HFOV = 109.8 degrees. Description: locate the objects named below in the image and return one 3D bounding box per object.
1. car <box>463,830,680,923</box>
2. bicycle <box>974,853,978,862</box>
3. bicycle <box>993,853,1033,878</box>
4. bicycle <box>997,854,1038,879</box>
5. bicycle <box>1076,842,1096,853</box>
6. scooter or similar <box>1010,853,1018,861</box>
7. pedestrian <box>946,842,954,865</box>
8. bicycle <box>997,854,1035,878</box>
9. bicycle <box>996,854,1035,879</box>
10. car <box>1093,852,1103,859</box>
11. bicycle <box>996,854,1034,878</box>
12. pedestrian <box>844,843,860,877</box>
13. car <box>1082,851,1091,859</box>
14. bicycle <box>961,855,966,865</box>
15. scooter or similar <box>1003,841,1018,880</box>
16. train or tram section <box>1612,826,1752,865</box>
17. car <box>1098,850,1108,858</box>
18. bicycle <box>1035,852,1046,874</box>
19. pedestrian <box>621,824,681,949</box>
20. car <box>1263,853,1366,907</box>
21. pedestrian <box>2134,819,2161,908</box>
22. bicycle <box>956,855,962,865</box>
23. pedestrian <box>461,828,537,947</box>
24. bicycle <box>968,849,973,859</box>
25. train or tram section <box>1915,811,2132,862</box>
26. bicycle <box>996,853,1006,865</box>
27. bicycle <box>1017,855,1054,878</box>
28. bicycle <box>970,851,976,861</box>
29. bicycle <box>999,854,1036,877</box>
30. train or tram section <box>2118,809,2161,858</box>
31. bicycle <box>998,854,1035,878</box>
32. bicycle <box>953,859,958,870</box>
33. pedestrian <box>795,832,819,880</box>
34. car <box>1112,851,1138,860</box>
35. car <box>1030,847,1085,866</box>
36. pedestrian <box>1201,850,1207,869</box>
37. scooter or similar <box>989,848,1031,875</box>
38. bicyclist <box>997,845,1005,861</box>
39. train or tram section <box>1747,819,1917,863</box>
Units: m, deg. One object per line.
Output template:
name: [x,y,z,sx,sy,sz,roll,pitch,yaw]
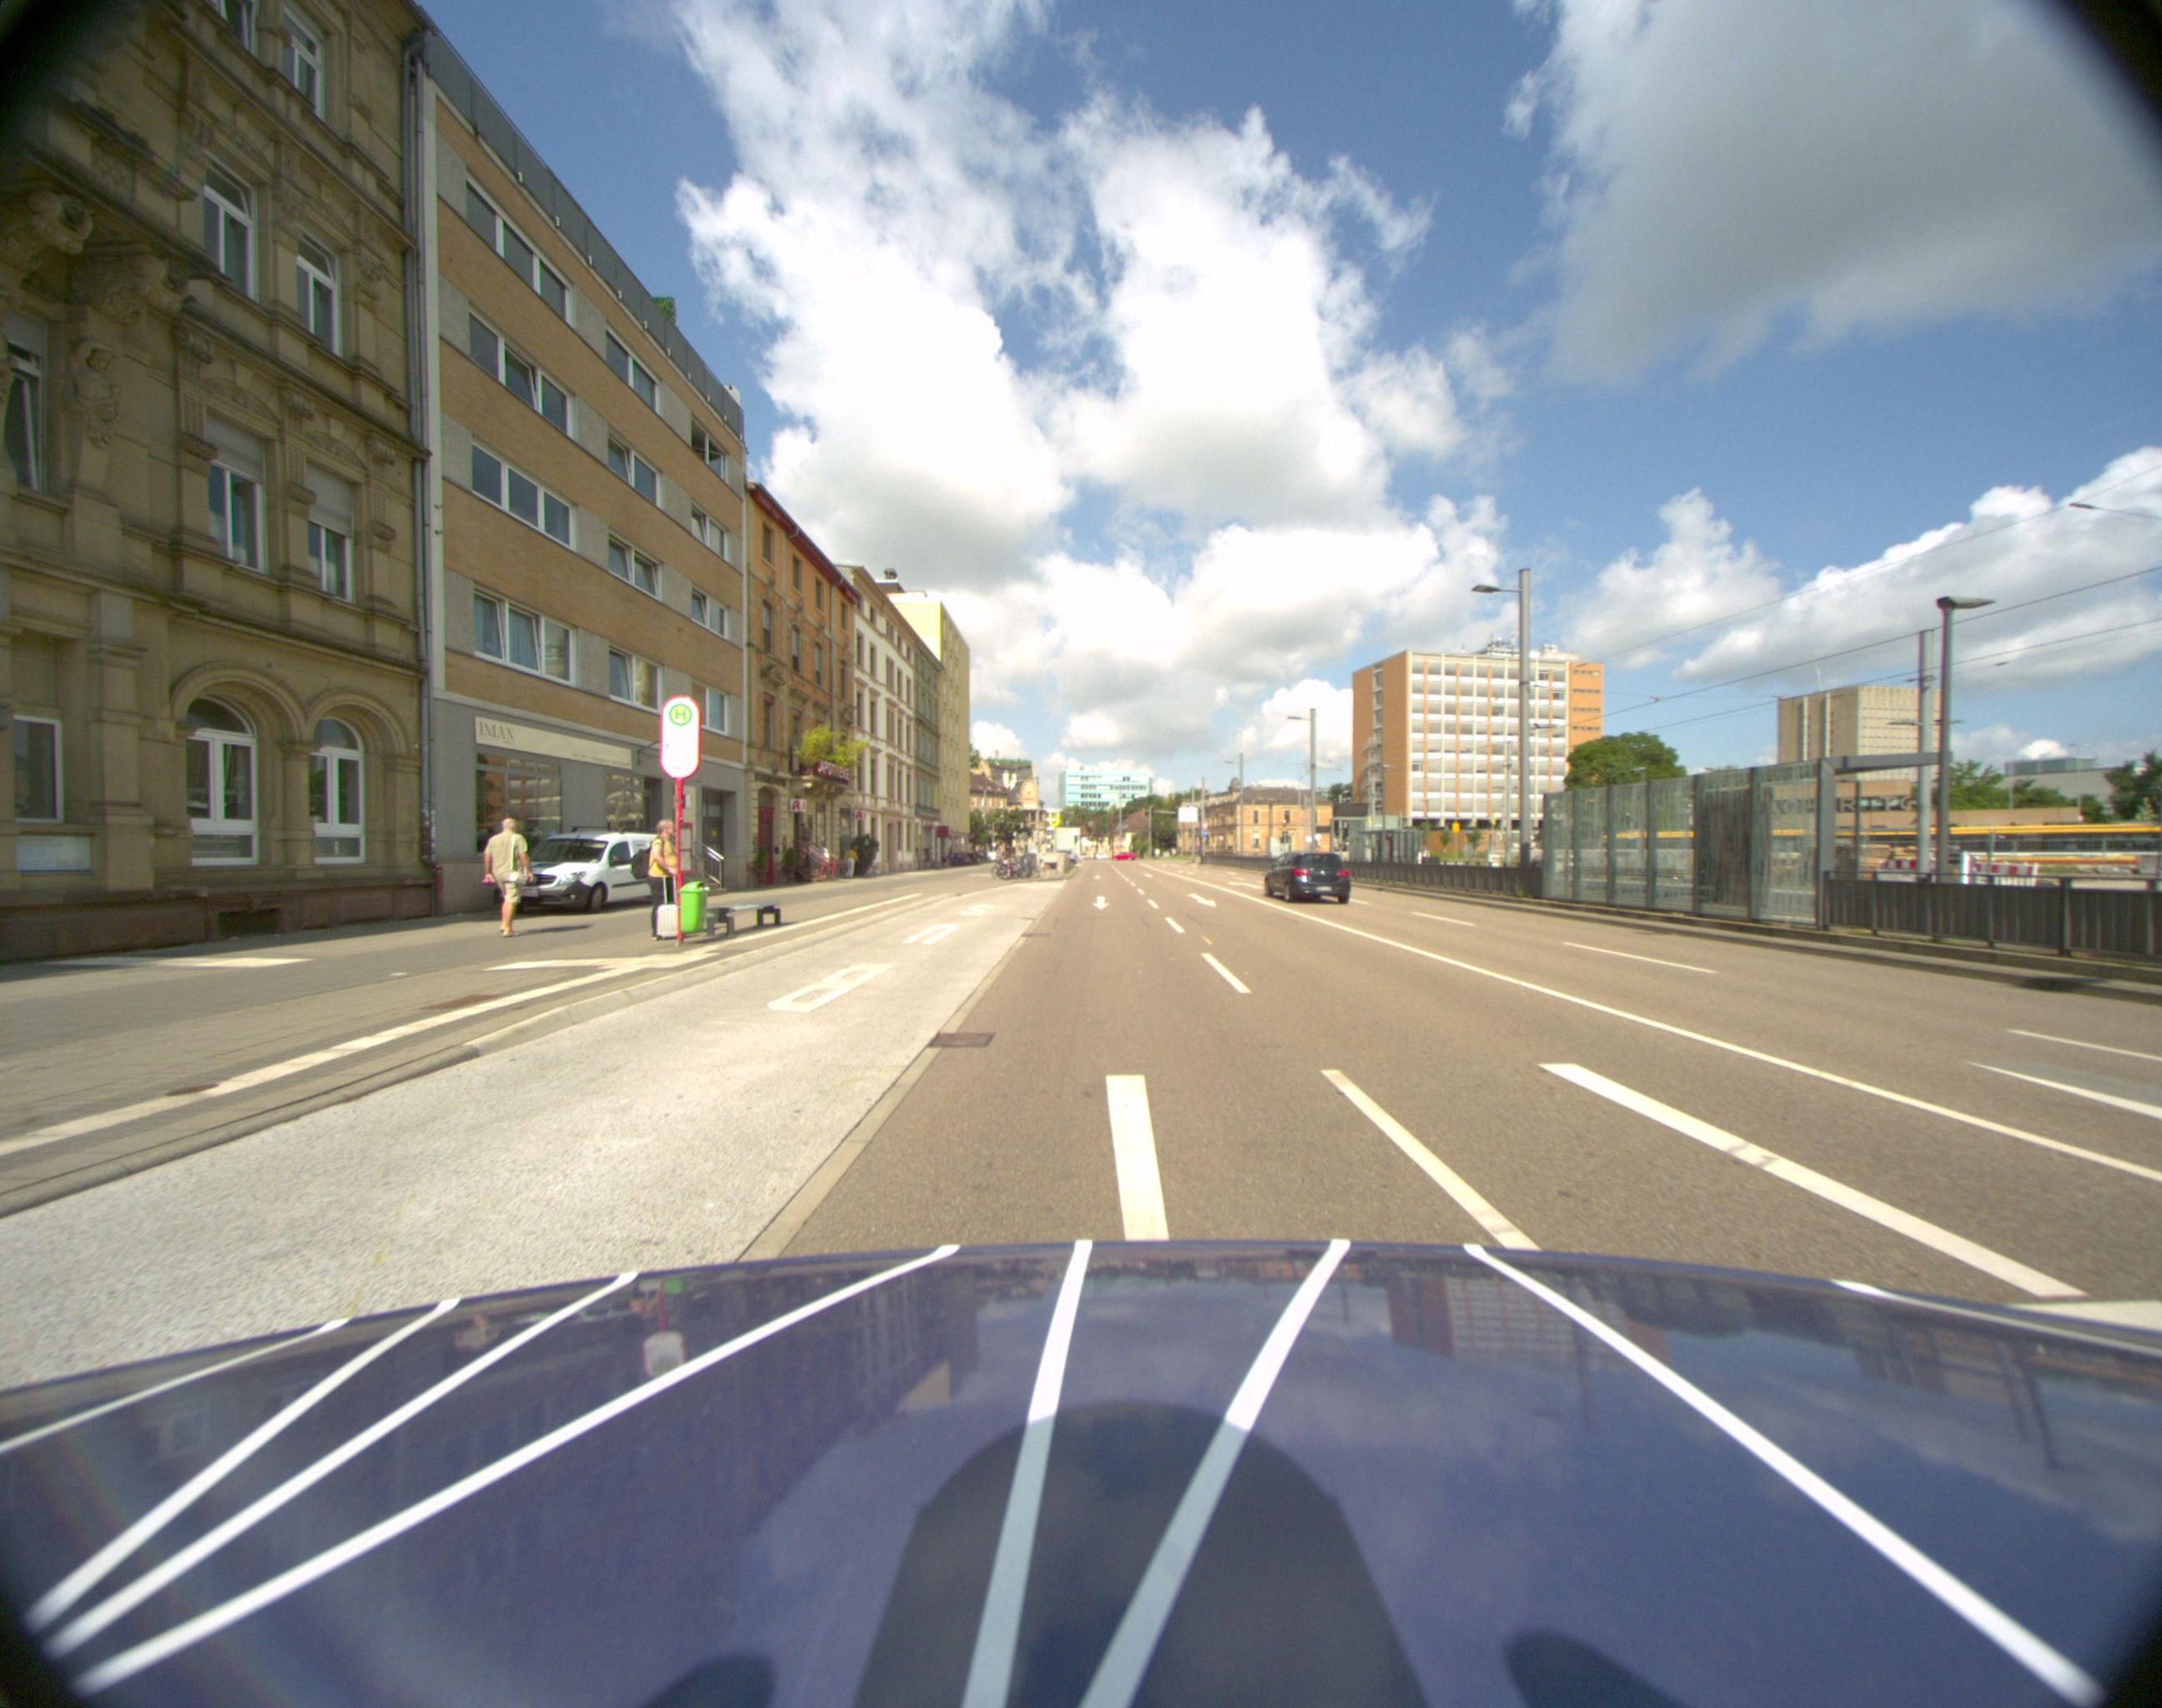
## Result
car: [-11.348,0.403,17.446,1.999,1.851,4.750,0,1,-4]
bicycle: [-10.997,0.385,79.550,0.293,0.878,1.464,0,1,-1]
bicycle: [-3.366,0.585,37.562,1.930,1.230,0.441,0,-1,-7]
bicycle: [-3.096,0.605,37.003,1.985,1.230,0.441,0,-1,-10]
bicycle: [0.541,-0.731,83.229,2.098,1.099,0.544,0,-1,4]
scooter or similar: [-9.490,0.413,107.397,1.067,1.189,0.380,1,-2,-36]
pedestrian: [-11.425,-0.075,66.485,0.603,2.001,0.460,0,-1,1]
bicycle: [-3.382,0.620,39.251,1.930,1.230,0.441,0,-1,-9]
bicycle: [-3.265,0.627,38.122,1.930,1.230,0.441,0,-1,-4]
car: [4.906,0.452,221.421,2.001,2.001,3.996,0,-2,-15]
bicycle: [-3.372,0.617,38.697,1.930,1.230,0.441,0,-1,-9]
pedestrian: [-11.436,0.305,37.952,0.580,1.687,0.612,0,-1,2]
car: [1.085,0.258,158.404,1.837,1.586,4.001,0,-2,0]
bicycle: [-10.775,0.548,69.801,0.293,0.917,1.464,0,0,-1]
scooter or similar: [-3.306,0.285,35.678,0.398,1.776,1.538,0,1,5]
train or tram section: [59.736,-0.744,75.812,10.579,3.459,3.332,-2,-2,45]
car: [4.431,0.054,155.630,1.955,1.586,4.507,0,-2,0]
bicycle: [-2.255,0.519,42.295,0.441,1.230,1.930,0,-2,-7]
pedestrian: [-6.698,0.485,11.864,0.665,1.892,0.693,0,1,-17]
car: [6.649,0.702,22.096,1.920,1.409,3.741,0,1,1]
pedestrian: [25.018,0.218,17.119,1.068,2.002,1.051,0,1,5]
bicycle: [-11.228,0.535,70.010,0.293,0.917,1.464,0,-1,-1]
pedestrian: [-9.160,0.510,11.986,0.665,1.826,0.694,0,1,-5]
bicycle: [-10.569,-0.010,72.552,0.293,0.917,1.464,0,-1,-1]
train or tram section: [74.716,-1.240,60.807,10.579,3.459,3.332,-2,-2,45]
bicycle: [-7.585,0.459,72.092,0.663,1.114,2.332,0,0,1]
bicycle: [-2.401,0.650,39.961,1.931,1.230,0.441,0,-1,-11]
bicycle: [-10.542,0.200,74.380,0.293,0.917,1.464,0,0,2]
bicycle: [-3.474,0.622,41.584,1.928,1.230,0.441,0,-1,3]
train or tram section: [82.173,-1.584,53.380,10.579,3.459,3.332,-2,-2,45]
bicycle: [-3.476,0.649,41.032,1.928,1.230,0.441,0,-1,3]
bicycle: [-11.545,0.964,70.008,0.293,0.917,1.464,0,0,-1]
pedestrian: [-11.936,0.104,33.108,0.723,2.086,0.786,0,-1,2]
car: [7.536,0.320,129.554,4.057,1.458,1.649,-1,-2,16]
car: [-2.063,0.182,67.690,4.605,1.638,2.056,-1,1,-41]
pedestrian: [13.247,0.561,81.648,0.503,2.002,0.515,0,1,-10]
scooter or similar: [-4.144,0.432,44.449,2.329,1.536,0.698,-1,-1,7]
bicyclist: [-7.633,-0.099,72.289,0.655,1.429,0.743,0,1,1]
train or tram section: [67.177,-1.010,68.369,10.579,3.459,3.332,-2,-2,45]
